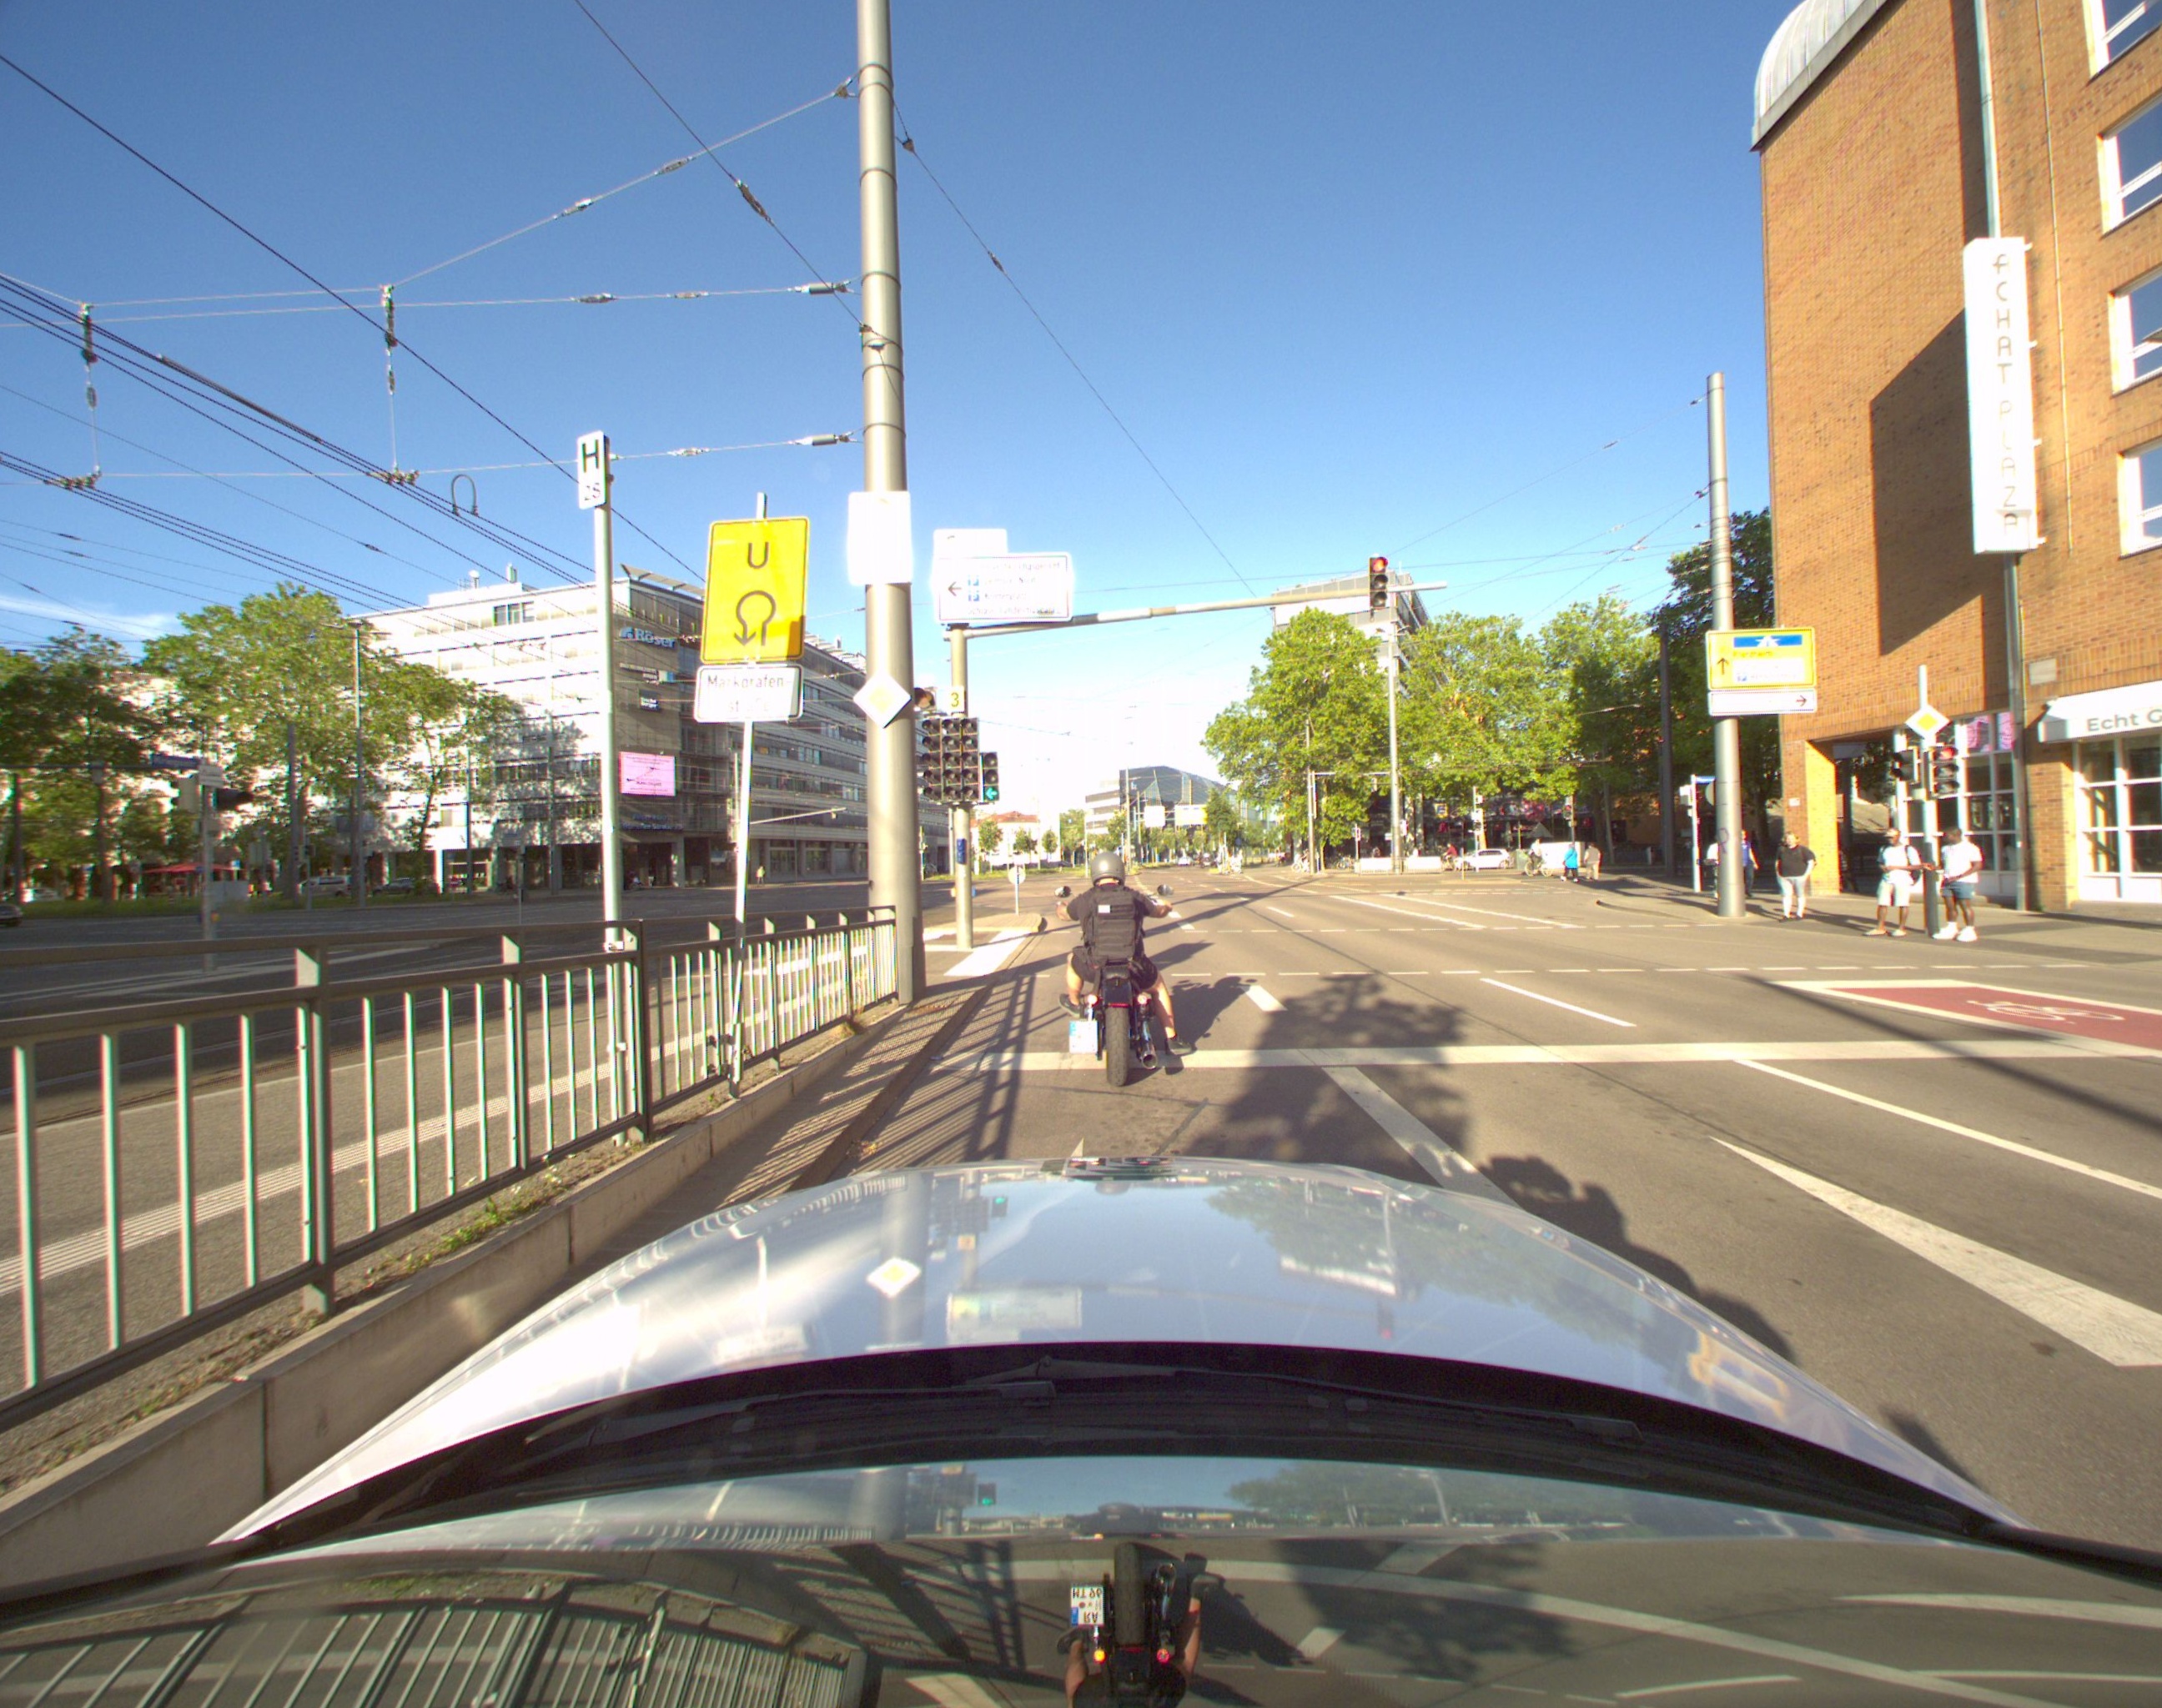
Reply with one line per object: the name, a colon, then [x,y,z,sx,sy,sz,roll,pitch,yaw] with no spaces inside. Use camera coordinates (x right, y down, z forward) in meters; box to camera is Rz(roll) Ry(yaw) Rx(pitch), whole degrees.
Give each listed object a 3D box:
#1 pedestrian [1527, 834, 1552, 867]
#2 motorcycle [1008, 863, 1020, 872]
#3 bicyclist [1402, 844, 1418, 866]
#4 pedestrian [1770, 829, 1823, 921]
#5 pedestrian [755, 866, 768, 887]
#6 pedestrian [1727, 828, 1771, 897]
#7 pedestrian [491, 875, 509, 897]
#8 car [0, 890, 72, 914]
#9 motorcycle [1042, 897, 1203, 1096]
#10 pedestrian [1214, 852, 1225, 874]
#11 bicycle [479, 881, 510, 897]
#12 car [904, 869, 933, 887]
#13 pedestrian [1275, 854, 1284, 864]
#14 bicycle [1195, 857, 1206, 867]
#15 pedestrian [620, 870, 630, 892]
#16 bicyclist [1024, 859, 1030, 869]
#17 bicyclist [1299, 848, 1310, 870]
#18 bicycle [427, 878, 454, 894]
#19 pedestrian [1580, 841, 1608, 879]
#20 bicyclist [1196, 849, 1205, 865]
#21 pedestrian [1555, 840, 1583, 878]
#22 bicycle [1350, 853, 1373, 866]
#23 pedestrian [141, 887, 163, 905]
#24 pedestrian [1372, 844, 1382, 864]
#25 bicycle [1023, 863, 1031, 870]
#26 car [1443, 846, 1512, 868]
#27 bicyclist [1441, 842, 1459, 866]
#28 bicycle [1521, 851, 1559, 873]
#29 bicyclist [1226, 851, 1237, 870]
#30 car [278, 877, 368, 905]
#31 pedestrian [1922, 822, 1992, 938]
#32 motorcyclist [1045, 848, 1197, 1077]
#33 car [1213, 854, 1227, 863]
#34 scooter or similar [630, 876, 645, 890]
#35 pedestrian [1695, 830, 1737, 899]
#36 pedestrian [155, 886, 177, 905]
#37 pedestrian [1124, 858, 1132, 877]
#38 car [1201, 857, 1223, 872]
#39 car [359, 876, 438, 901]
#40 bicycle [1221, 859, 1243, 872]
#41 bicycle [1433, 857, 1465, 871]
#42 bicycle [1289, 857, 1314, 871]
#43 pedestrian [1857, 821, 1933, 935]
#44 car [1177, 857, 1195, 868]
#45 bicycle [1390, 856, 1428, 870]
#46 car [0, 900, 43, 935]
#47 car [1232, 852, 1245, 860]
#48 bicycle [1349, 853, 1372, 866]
pedestrian: [22.272,-0.151,39.567,0.767,1.594,0.838,0,-1,1]
motorcycle: [-10.449,2.092,126.531,0.976,1.232,2.953,-2,-1,13]
bicyclist: [29.089,0.119,71.983,1.216,1.931,0.839,-2,0,18]
pedestrian: [14.157,0.398,16.116,0.577,1.767,0.687,-1,0,-39]
pedestrian: [-28.794,2.018,73.328,0.671,1.823,0.887,-3,-1,7]
pedestrian: [16.820,0.214,20.512,0.598,1.727,0.604,-1,-1,8]
pedestrian: [-43.733,2.385,61.281,0.831,1.610,0.607,-1,2,2]
car: [-79.739,3.619,61.971,3.835,1.638,1.869,-2,0,6]
motorcycle: [0.295,0.957,6.272,1.002,1.125,2.324,0,0,2]
pedestrian: [11.641,0.790,68.513,0.693,1.837,0.518,-1,-1,37]
bicycle: [-43.796,2.604,60.818,1.834,1.163,0.613,-1,3,3]
car: [-14.901,2.178,74.931,1.786,1.466,4.310,-2,0,0]
pedestrian: [21.893,0.549,89.614,0.777,1.057,0.819,-2,0,24]
bicycle: [19.674,1.262,134.305,1.007,1.579,3.592,-2,0,20]
pedestrian: [-36.427,2.122,65.070,0.640,1.708,0.576,-1,-1,-28]
bicyclist: [-8.975,1.635,135.115,0.758,1.667,0.998,-1,0,17]
bicyclist: [17.643,0.419,64.184,0.737,1.694,0.572,-2,-1,13]
bicycle: [-51.227,2.534,65.116,0.466,1.151,1.843,-1,1,9]
pedestrian: [20.862,0.245,33.116,0.649,1.540,0.741,0,-1,-6]
bicyclist: [19.703,0.430,134.390,1.007,2.624,1.479,-2,0,19]
pedestrian: [19.875,0.216,33.164,0.674,1.540,0.741,0,-1,-6]
bicycle: [22.463,0.465,65.302,1.692,0.986,0.392,-2,0,15]
pedestrian: [-81.962,3.667,71.857,0.985,1.546,0.875,-2,-1,9]
pedestrian: [27.414,0.032,75.400,0.840,1.852,0.813,1,0,16]
bicycle: [-8.964,2.015,135.122,0.637,1.107,1.692,-1,0,16]
car: [27.803,0.223,57.222,3.967,1.486,2.003,0,-1,6]
bicyclist: [25.121,0.017,55.480,0.921,1.615,0.638,-2,0,5]
bicycle: [22.268,0.381,39.542,0.786,1.052,1.924,0,-1,2]
bicyclist: [12.275,0.529,66.393,0.736,1.503,0.573,-2,-1,25]
car: [-56.326,2.739,60.596,4.888,1.843,1.930,-2,2,3]
pedestrian: [13.779,0.402,12.825,0.401,1.774,0.581,-4,-1,13]
motorcyclist: [0.291,0.737,6.185,1.018,1.552,1.287,0,0,1]
car: [25.606,0.793,149.633,1.705,1.657,3.774,-2,0,22]
scooter or similar: [-35.682,2.323,65.463,1.021,1.129,0.545,-1,0,-27]
pedestrian: [16.092,0.270,20.646,0.558,1.704,0.660,0,-1,7]
pedestrian: [-80.642,3.657,71.773,0.986,1.546,0.874,-2,-1,6]
pedestrian: [3.962,1.095,68.323,0.654,1.582,0.490,-1,0,5]
car: [16.939,1.372,105.310,2.036,1.874,4.247,-1,-1,19]
car: [-50.709,2.547,60.524,4.378,1.572,1.869,-2,2,6]
bicycle: [12.312,0.934,66.367,1.612,1.021,0.519,-2,-1,25]
bicycle: [25.090,0.655,55.495,1.844,0.910,0.653,-2,0,6]
bicycle: [17.404,0.779,64.253,1.840,1.021,0.518,-2,-1,13]
pedestrian: [13.577,0.402,13.591,0.500,1.833,0.725,-3,-1,-33]
car: [16.105,1.303,124.747,1.885,1.508,4.020,-1,-1,20]
bicycle: [28.997,0.778,71.985,3.016,1.113,0.839,-2,0,18]
car: [-44.735,2.583,32.815,3.599,1.328,1.655,0,-1,-1]
car: [31.220,0.418,161.691,1.705,1.484,3.775,-2,0,23]
bicycle: [22.858,0.425,66.665,1.692,0.986,0.392,-2,0,15]
